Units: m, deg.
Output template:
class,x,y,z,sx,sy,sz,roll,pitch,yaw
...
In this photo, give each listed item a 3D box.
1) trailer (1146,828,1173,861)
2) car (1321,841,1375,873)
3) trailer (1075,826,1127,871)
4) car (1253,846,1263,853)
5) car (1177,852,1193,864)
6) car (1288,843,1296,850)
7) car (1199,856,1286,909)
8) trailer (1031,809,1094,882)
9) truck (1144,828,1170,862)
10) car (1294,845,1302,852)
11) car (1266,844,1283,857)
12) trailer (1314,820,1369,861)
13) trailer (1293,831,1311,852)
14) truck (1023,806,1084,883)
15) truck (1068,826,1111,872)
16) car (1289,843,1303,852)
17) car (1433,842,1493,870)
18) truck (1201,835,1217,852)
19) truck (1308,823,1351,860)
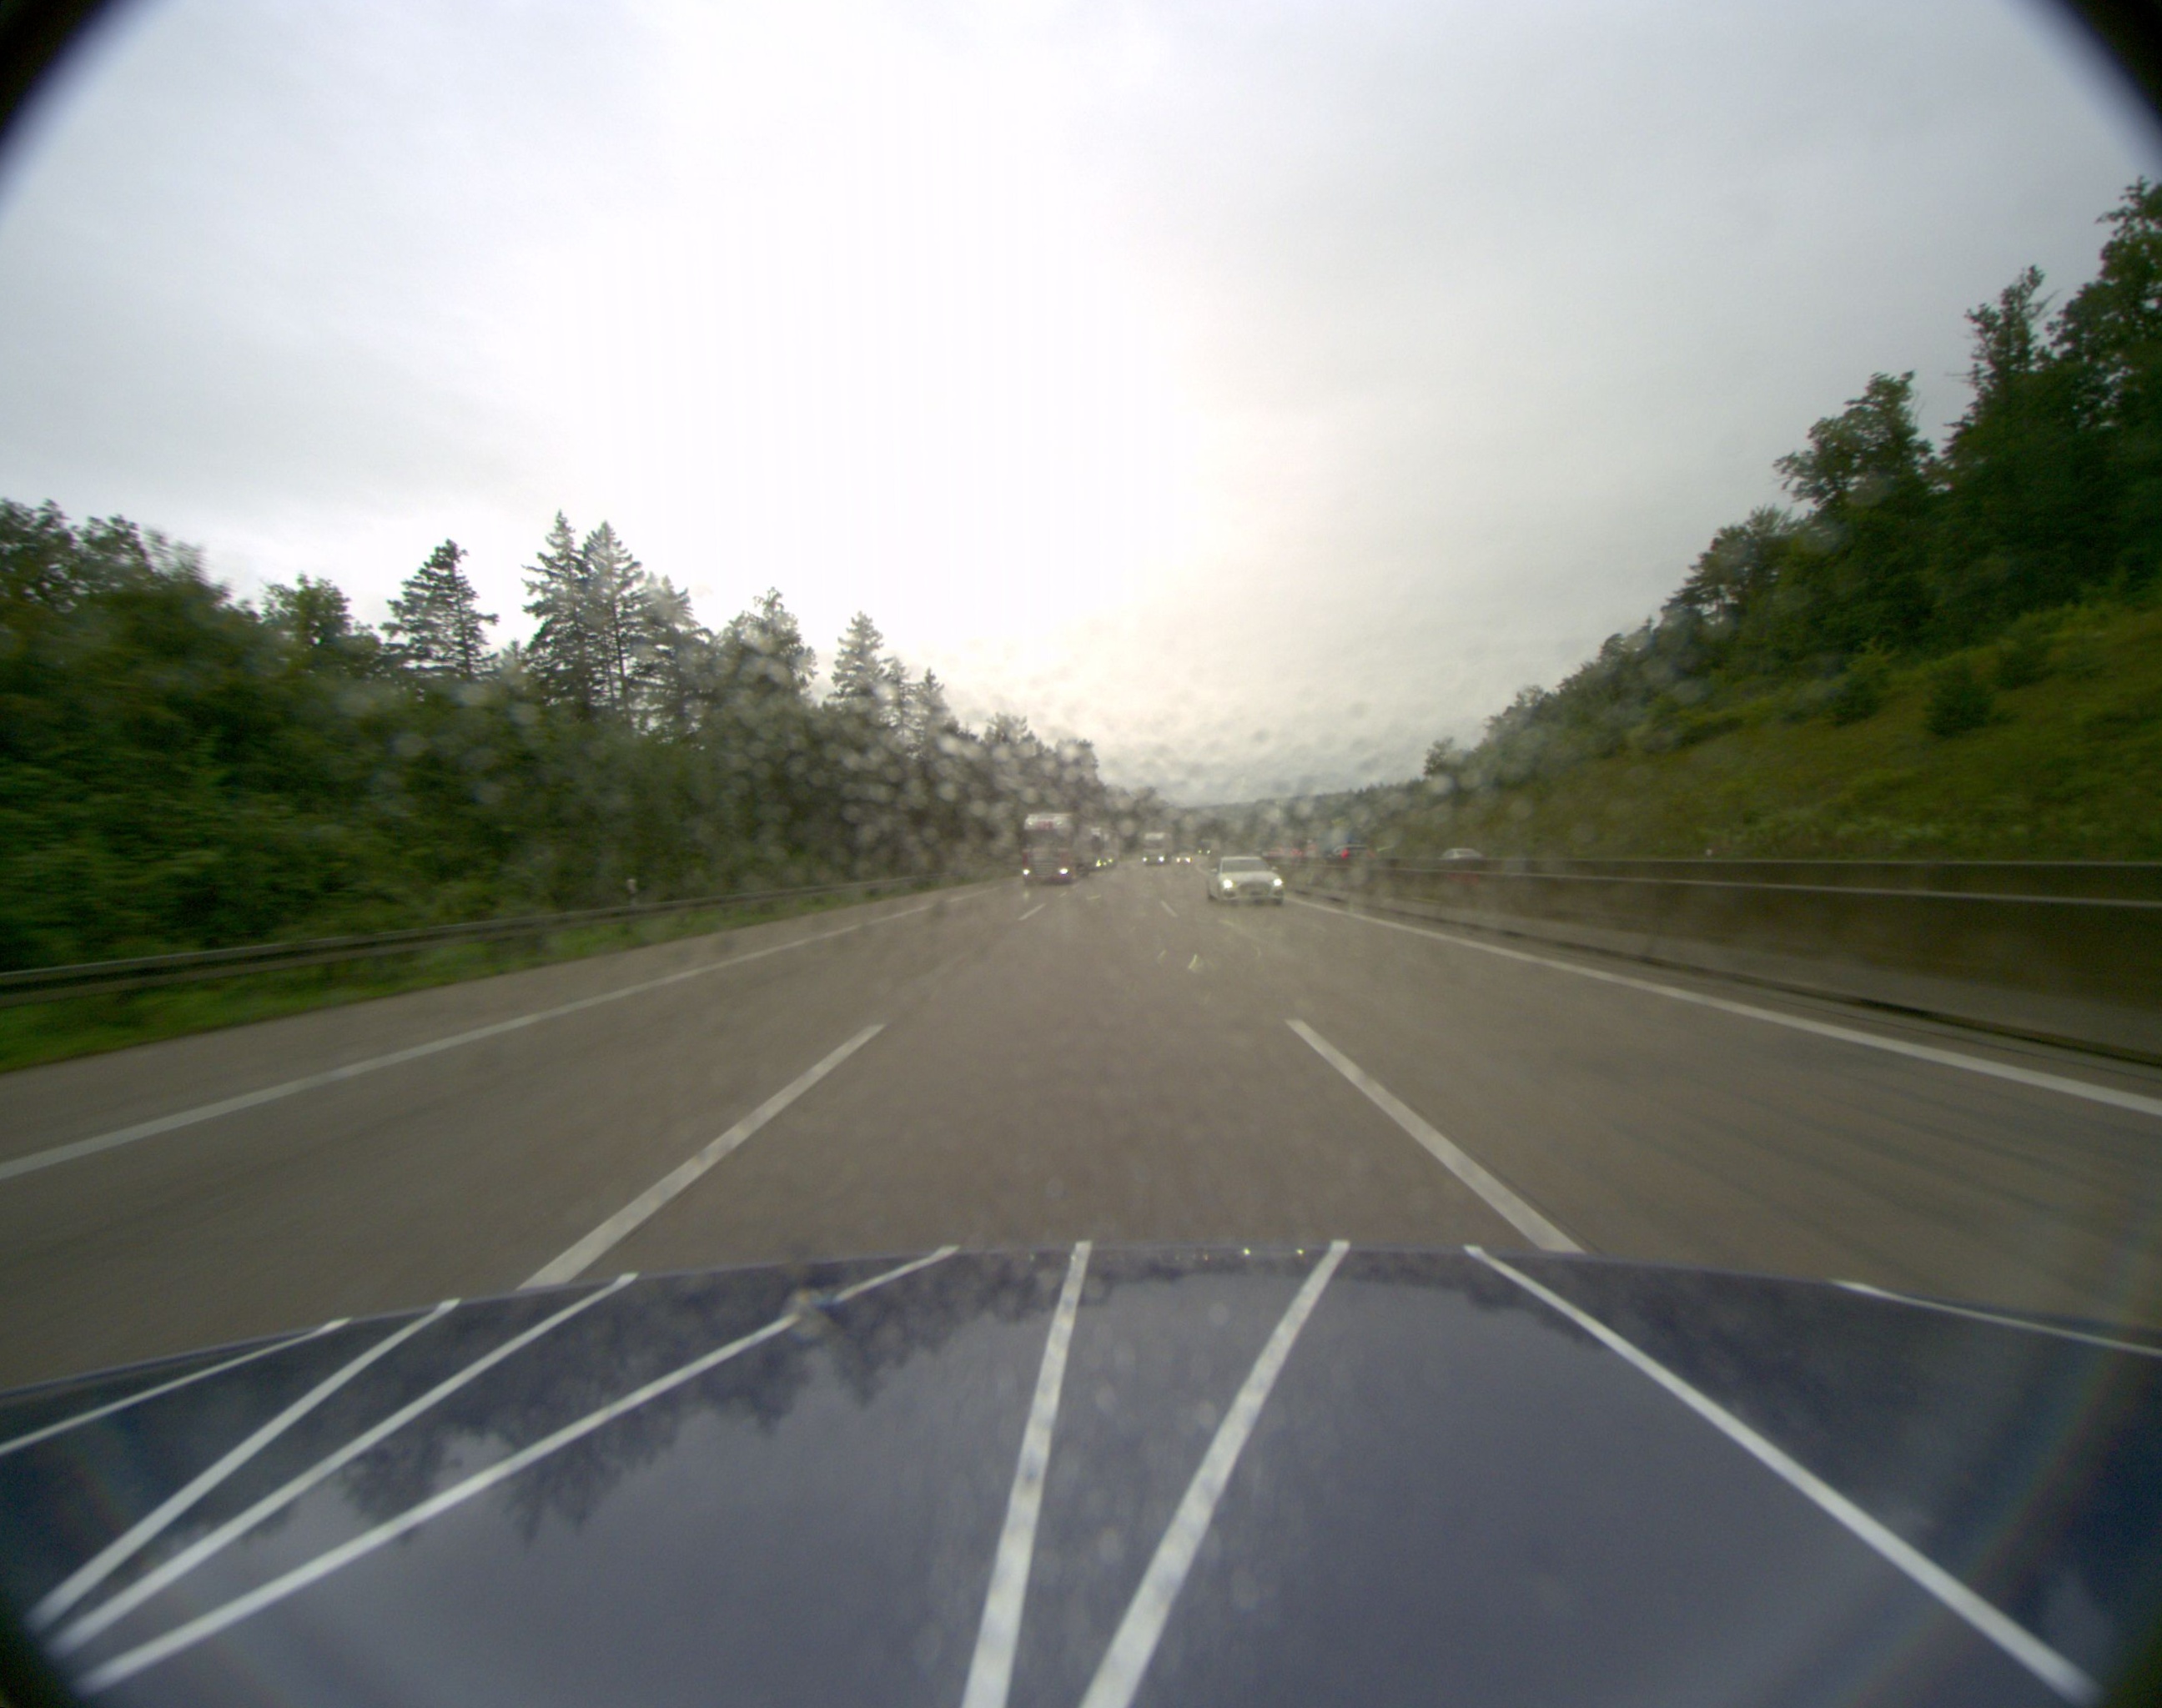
class,x,y,z,sx,sy,sz,roll,pitch,yaw
trailer,10.817,-1.252,103.718,2.684,4.017,13.713,-4,0,9
car,15.570,0.162,44.587,1.735,1.766,4.759,-1,0,4
trailer,2.253,-0.607,77.366,2.739,4.080,13.693,-2,1,12
car,37.761,-0.897,162.103,1.734,1.484,4.003,-1,0,11
car,12.986,0.507,94.948,1.849,1.474,4.451,-2,0,6
car,57.213,-2.053,205.979,1.996,1.576,4.778,-1,1,19
car,4.896,0.805,23.688,1.716,1.399,4.936,-2,0,1
trailer,-0.917,-0.438,48.399,2.375,3.930,12.526,-3,0,5
truck,9.781,-1.132,97.112,2.726,4.017,5.756,-4,0,9
car,64.501,-1.700,225.794,1.996,2.002,4.004,-1,0,14
car,27.773,-0.479,109.179,1.734,1.766,4.760,-1,0,5
trailer,27.101,-1.379,79.623,2.913,3.866,11.039,-2,0,5
trailer,45.563,-2.576,156.966,2.931,3.938,13.477,-1,1,14
truck,-1.447,-0.464,43.158,2.380,3.930,6.163,-3,-1,6
truck,0.848,-0.479,70.693,2.803,4.080,5.972,-2,1,11
car,35.149,-1.043,124.325,1.734,1.484,4.002,-1,0,8
car,22.951,0.119,45.821,1.735,1.567,4.245,-1,0,4
truck,34.090,-2.781,202.215,2.734,4.127,8.632,-2,0,18
truck,27.655,-1.414,84.888,2.913,3.866,7.366,-2,0,5
